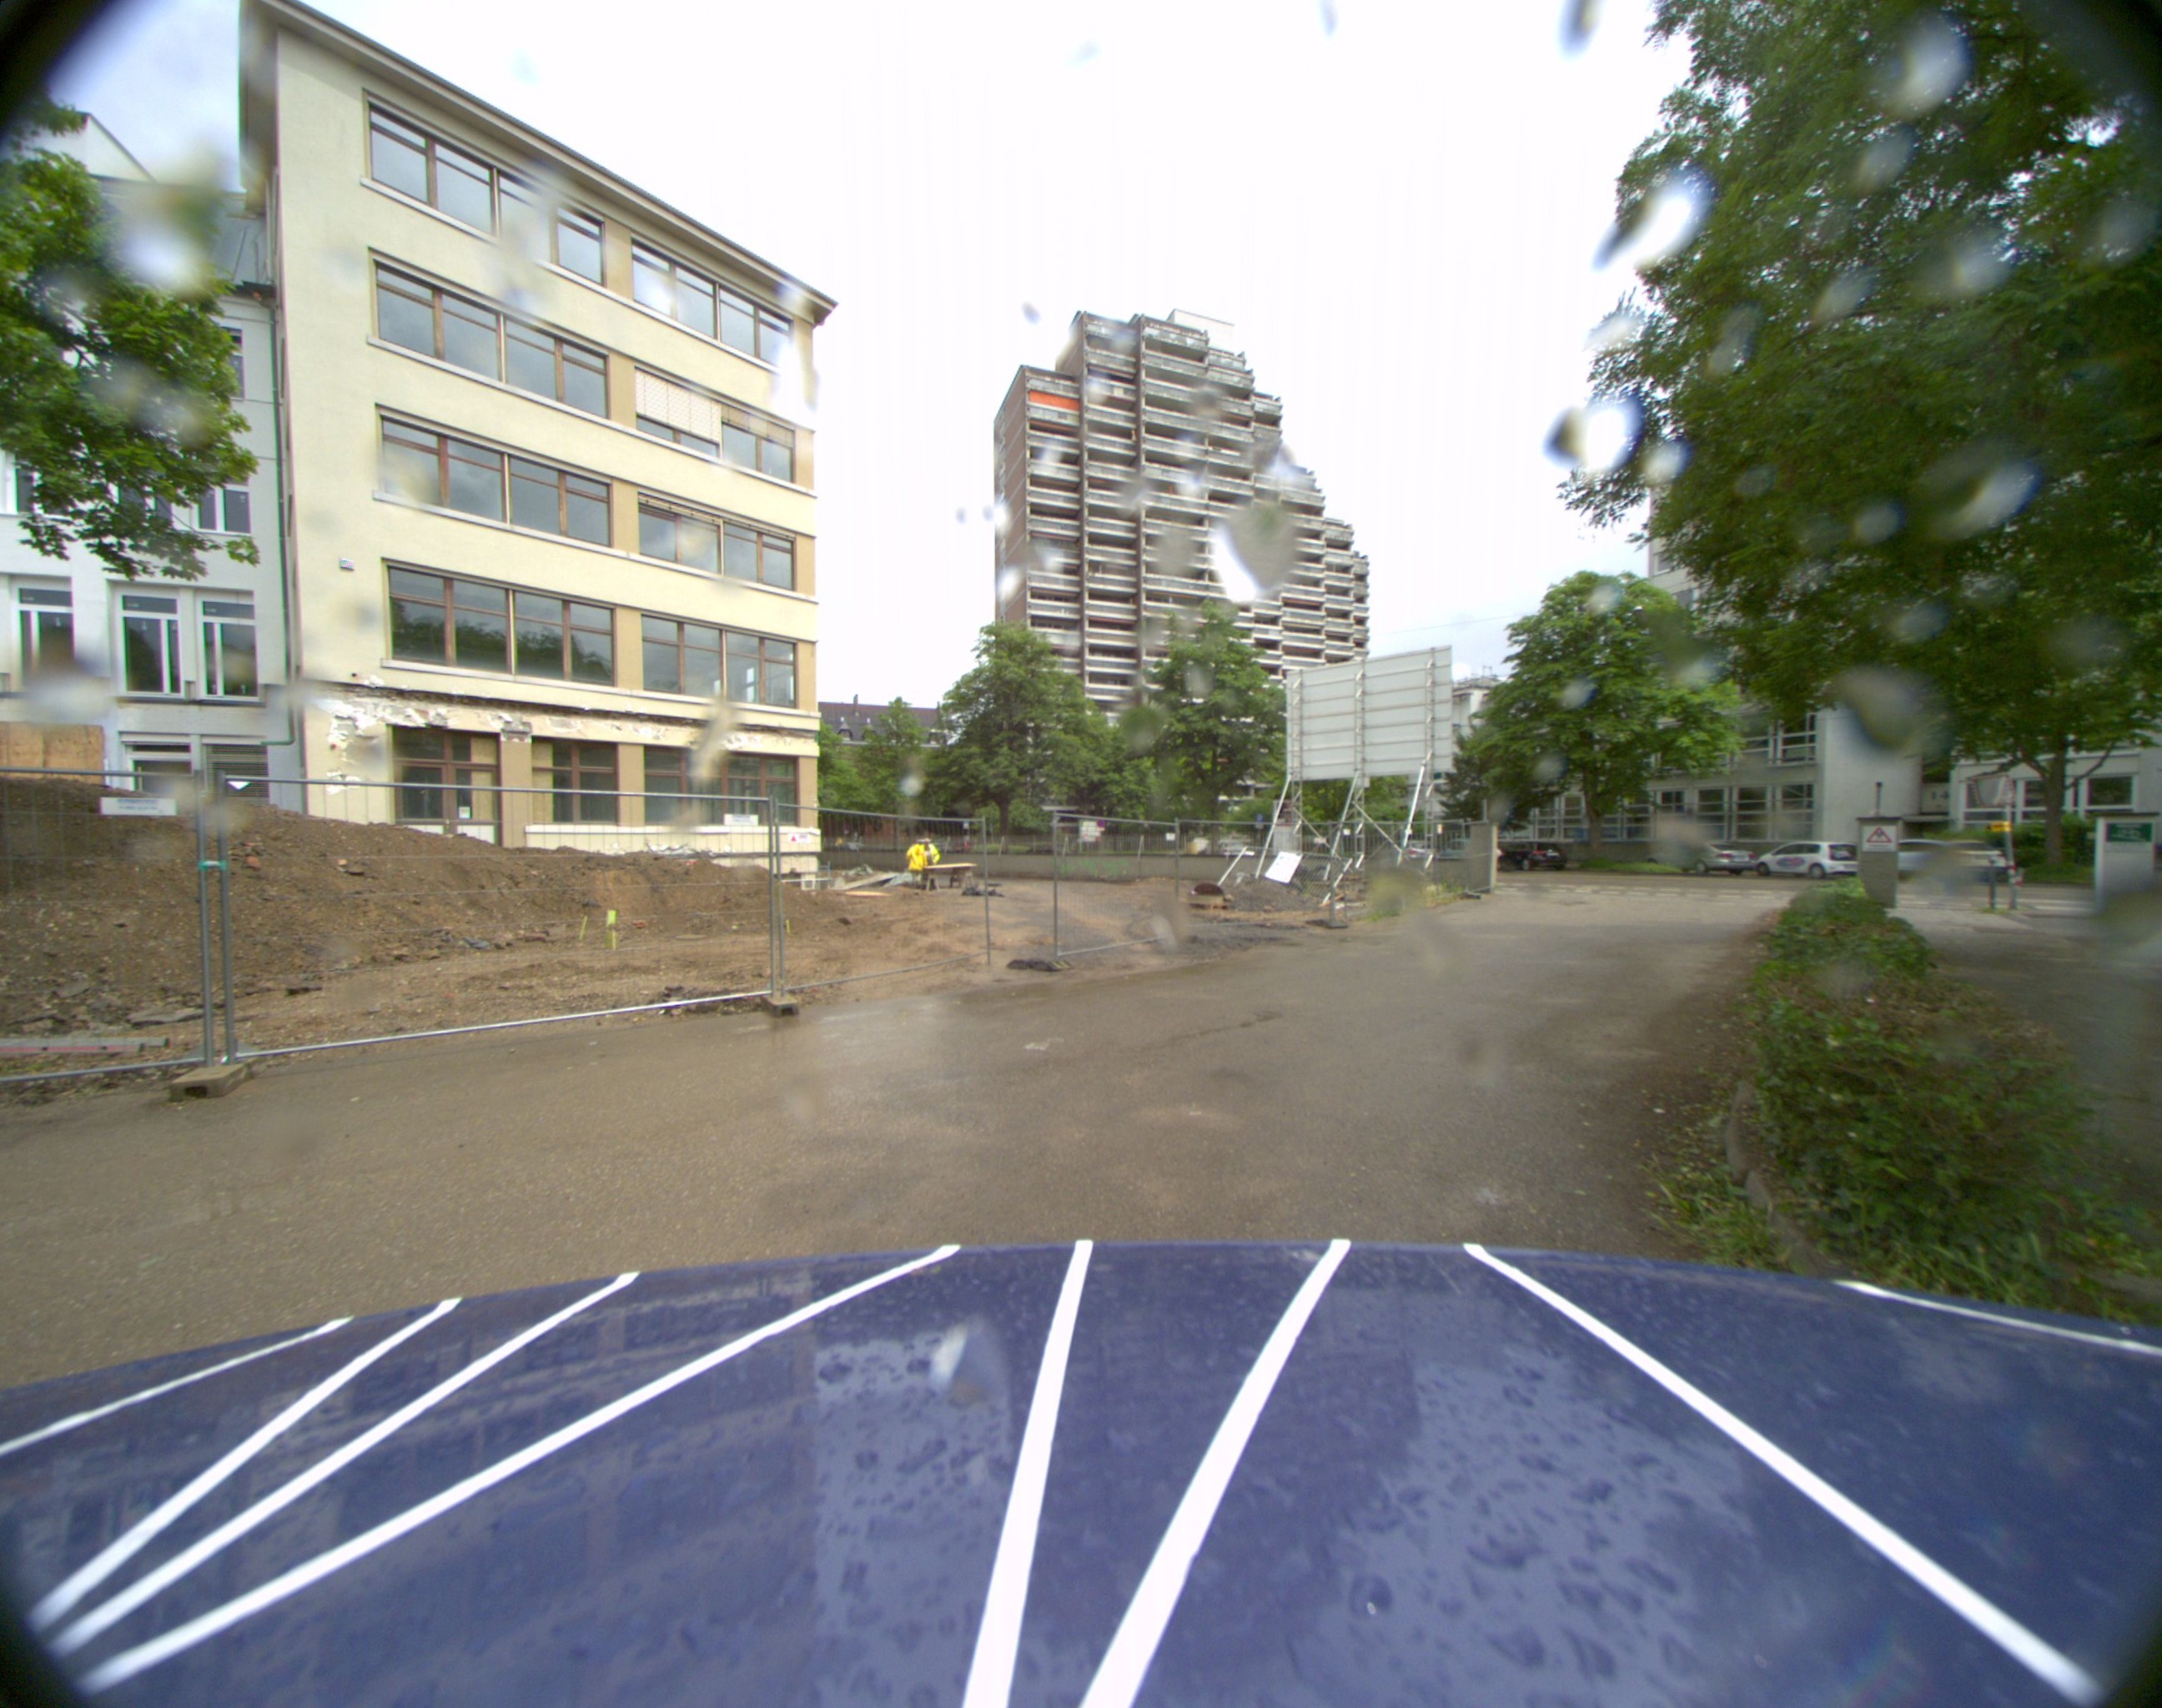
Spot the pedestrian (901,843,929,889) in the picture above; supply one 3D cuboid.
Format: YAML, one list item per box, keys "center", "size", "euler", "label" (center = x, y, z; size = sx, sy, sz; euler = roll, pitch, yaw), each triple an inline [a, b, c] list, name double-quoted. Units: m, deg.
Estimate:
- center: [-5.508, 0.378, 25.196]
  size: [0.623, 1.500, 0.650]
  euler: [1, 2, 30]
  label: "pedestrian"

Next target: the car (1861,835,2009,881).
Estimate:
- center: [32.001, 0.108, 28.616]
  size: [1.706, 1.594, 3.389]
  euler: [1, 1, 0]
  label: "car"

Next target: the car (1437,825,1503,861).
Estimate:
- center: [19.980, -0.602, 39.223]
  size: [1.621, 1.737, 3.647]
  euler: [0, 2, 2]
  label: "car"

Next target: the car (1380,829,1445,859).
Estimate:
- center: [17.878, -0.555, 41.201]
  size: [1.857, 1.478, 3.999]
  euler: [-2, 2, 2]
  label: "car"

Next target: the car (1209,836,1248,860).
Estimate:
- center: [9.564, -0.428, 49.592]
  size: [1.857, 1.478, 3.999]
  euler: [-2, 2, 2]
  label: "car"

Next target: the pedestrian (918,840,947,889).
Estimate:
- center: [-5.114, 0.348, 26.197]
  size: [0.776, 1.664, 0.713]
  euler: [0, 2, 7]
  label: "pedestrian"

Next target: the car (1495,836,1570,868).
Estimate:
- center: [22.084, -0.135, 37.330]
  size: [1.621, 1.419, 3.647]
  euler: [0, 2, 2]
  label: "car"

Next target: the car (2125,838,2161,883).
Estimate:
- center: [36.918, 0.270, 24.294]
  size: [1.789, 1.497, 3.779]
  euler: [1, 2, 0]
  label: "car"

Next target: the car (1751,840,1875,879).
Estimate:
- center: [29.416, 0.183, 30.674]
  size: [1.653, 1.436, 3.389]
  euler: [1, 1, 0]
  label: "car"

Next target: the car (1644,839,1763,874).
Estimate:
- center: [27.238, 0.069, 33.447]
  size: [1.723, 1.407, 3.997]
  euler: [1, 1, -5]
  label: "car"

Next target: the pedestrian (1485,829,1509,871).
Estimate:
- center: [20.096, -0.212, 36.693]
  size: [0.929, 2.002, 0.861]
  euler: [1, 2, 34]
  label: "pedestrian"
